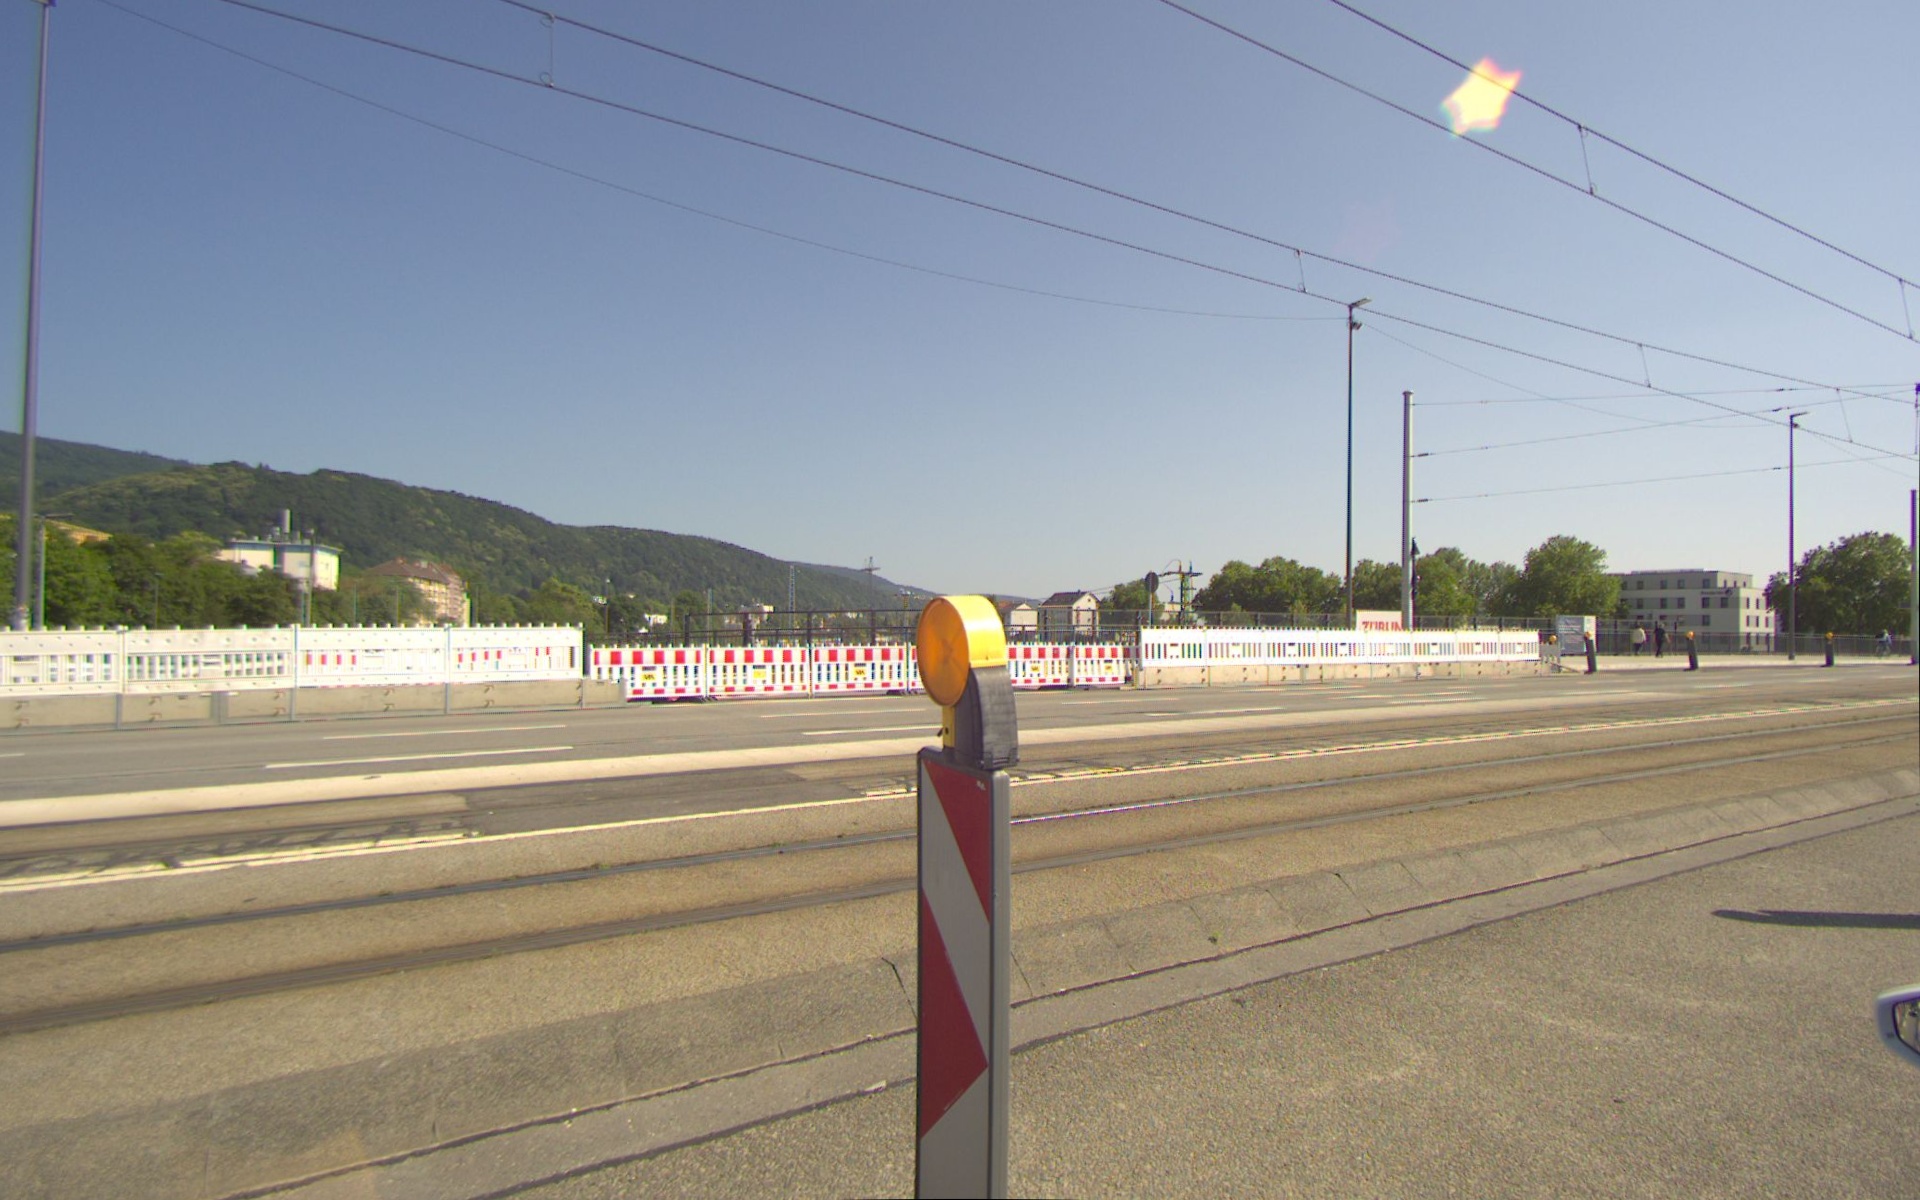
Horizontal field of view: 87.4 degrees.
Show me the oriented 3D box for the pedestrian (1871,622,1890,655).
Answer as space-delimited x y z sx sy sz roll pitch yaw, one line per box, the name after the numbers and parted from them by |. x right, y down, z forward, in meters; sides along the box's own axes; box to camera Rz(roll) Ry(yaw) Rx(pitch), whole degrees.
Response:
54.221 2.258 59.195 0.743 1.919 0.631 1 0 -30 | pedestrian

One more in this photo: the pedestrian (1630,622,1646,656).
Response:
34.255 1.972 50.761 0.468 1.717 0.493 2 0 -30 | pedestrian

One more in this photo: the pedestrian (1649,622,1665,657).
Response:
34.665 1.957 49.974 0.468 1.717 0.493 2 0 -30 | pedestrian
